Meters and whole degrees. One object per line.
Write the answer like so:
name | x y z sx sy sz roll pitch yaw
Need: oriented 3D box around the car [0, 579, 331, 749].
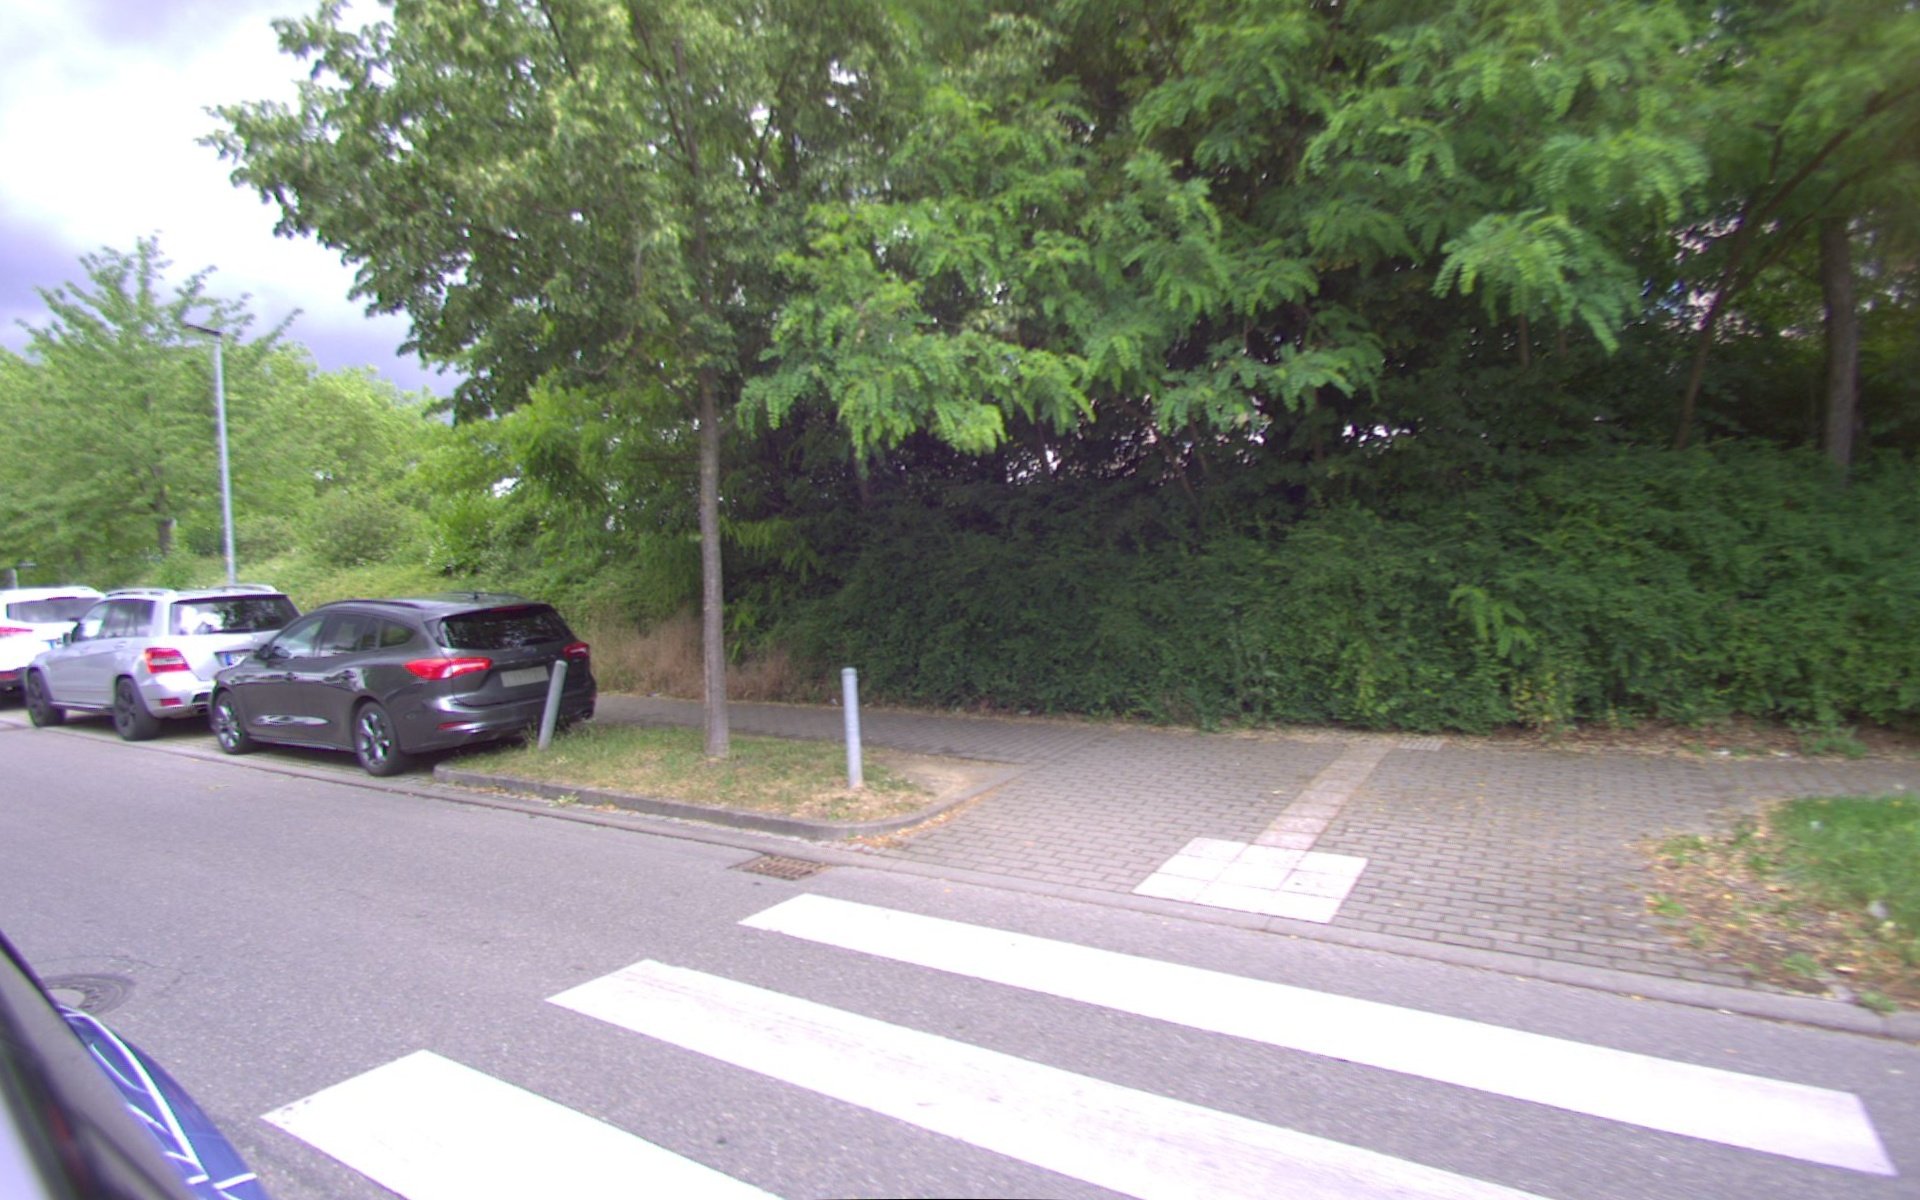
car | -9.699 0.641 12.238 4.466 1.627 1.785 0 4 34

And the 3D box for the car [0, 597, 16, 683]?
car | -19.139 0.813 18.546 4.219 1.522 1.676 -2 4 34

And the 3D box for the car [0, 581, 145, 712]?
car | -14.487 0.672 15.473 4.424 1.676 1.793 -2 3 34

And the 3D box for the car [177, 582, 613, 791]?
car | -5.436 0.681 9.546 4.444 1.475 1.676 -1 4 34
